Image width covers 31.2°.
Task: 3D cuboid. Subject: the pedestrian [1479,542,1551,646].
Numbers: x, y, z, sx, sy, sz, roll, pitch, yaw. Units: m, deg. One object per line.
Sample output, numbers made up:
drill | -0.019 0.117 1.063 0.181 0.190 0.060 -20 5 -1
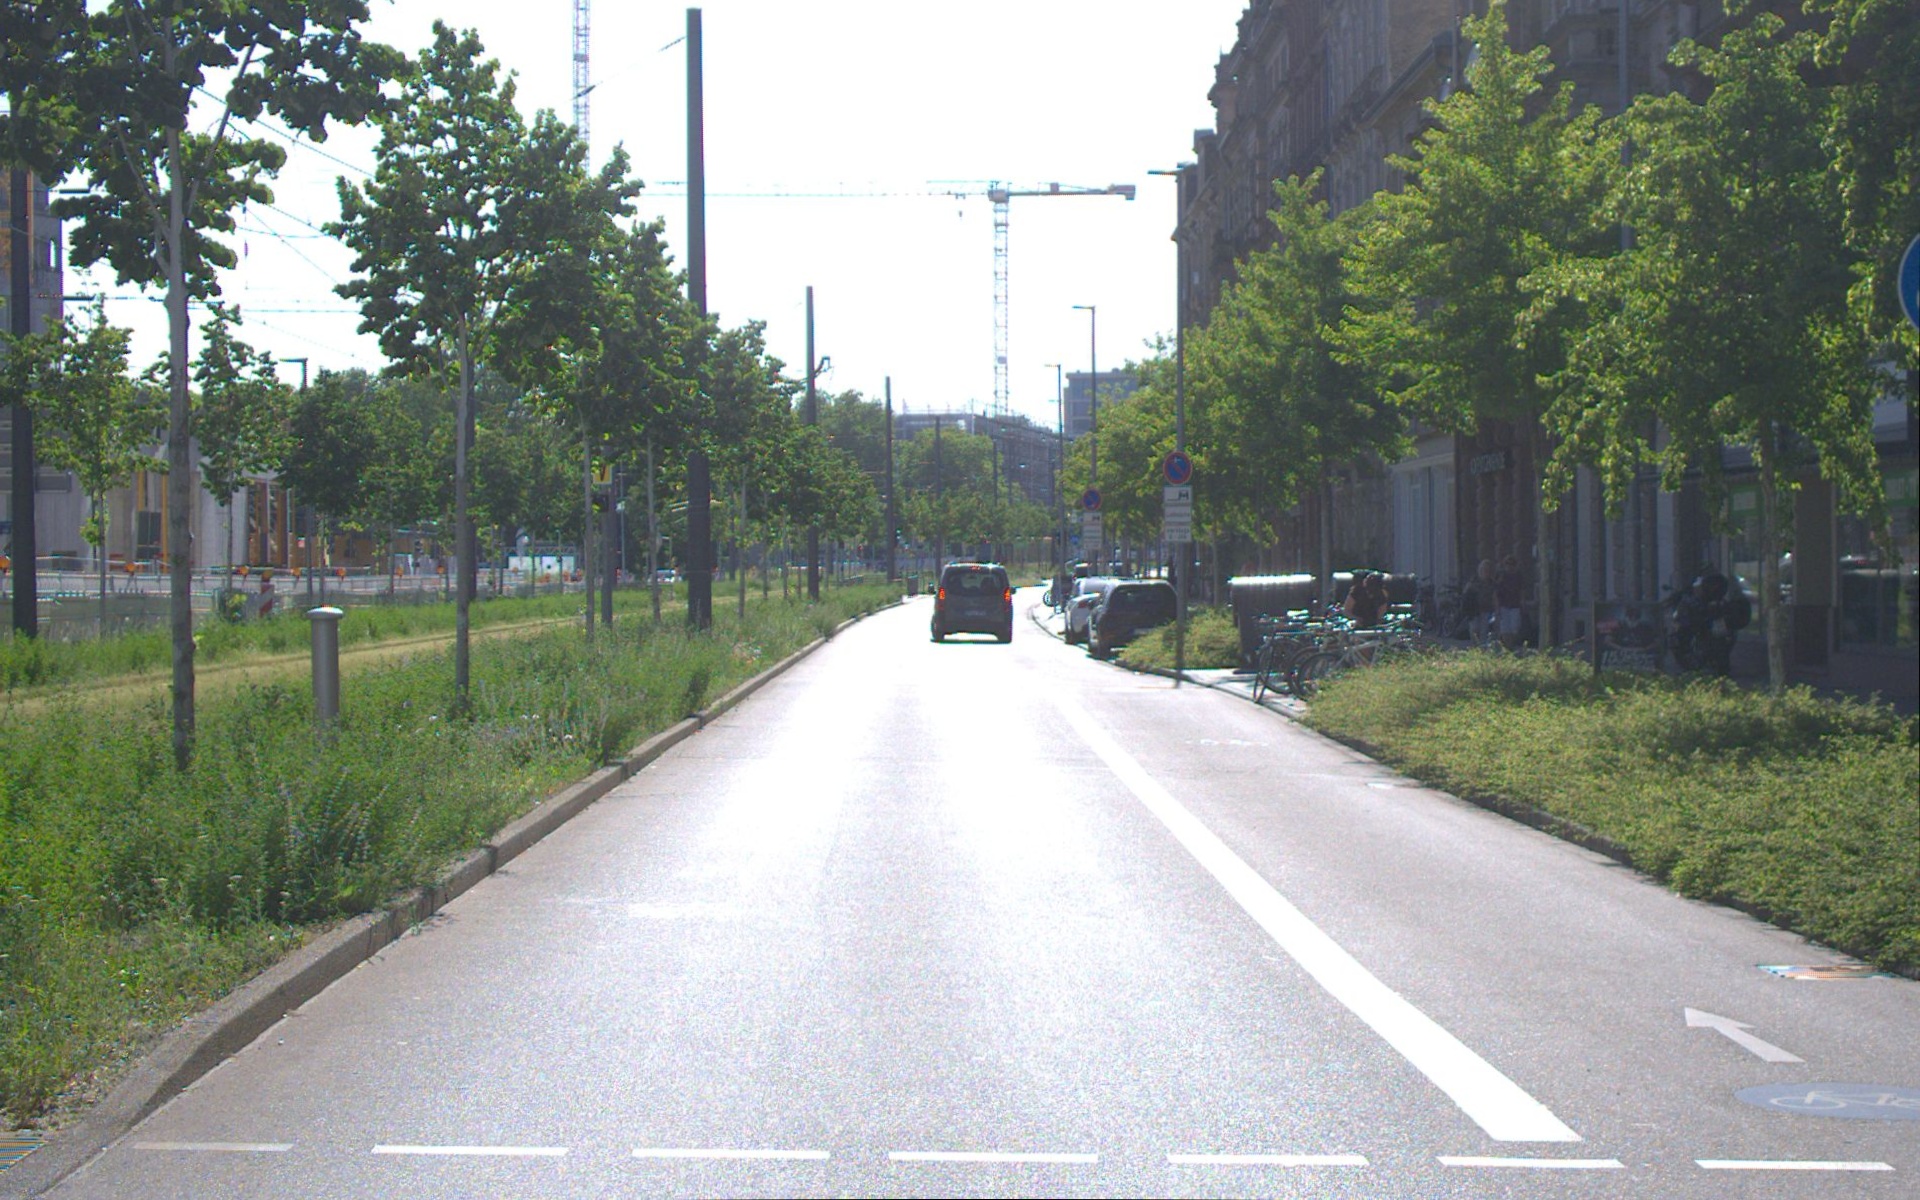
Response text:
pedestrian | 8.933 -0.106 55.353 0.971 1.633 0.992 -1 1 0

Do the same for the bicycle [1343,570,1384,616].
bicycle | 9.798 -0.169 83.611 0.721 1.086 2.198 -1 1 0

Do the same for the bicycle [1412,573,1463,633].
bicycle | 9.630 0.060 69.377 0.748 1.197 1.801 -1 0 0

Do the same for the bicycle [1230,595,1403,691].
bicycle | 4.519 0.541 43.584 2.043 1.103 0.611 -3 0 -6

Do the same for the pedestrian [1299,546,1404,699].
pedestrian | 4.651 0.265 40.774 0.848 1.730 0.901 -3 1 30

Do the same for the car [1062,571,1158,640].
car | 3.443 0.109 79.826 1.951 1.490 5.105 -2 0 0

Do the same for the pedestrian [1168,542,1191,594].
pedestrian | 8.664 -1.257 135.986 0.817 2.007 1.046 1 -2 0

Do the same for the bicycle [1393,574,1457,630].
bicycle | 9.789 0.030 72.442 0.875 1.101 2.182 -3 1 -3

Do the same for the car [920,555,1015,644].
car | 0.147 -0.008 80.405 1.993 2.007 4.000 1 0 -3

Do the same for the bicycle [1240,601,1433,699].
bicycle | 4.619 0.604 42.156 2.284 1.098 0.486 -2 0 -14

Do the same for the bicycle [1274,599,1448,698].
bicycle | 4.777 0.578 40.990 1.977 1.104 0.435 -2 0 -3

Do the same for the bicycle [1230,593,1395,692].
bicycle | 4.510 0.544 43.992 1.974 1.120 0.482 -4 2 -5

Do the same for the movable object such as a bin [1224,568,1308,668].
movable object such as a bin | 4.815 0.273 54.238 1.271 1.458 1.643 1 3 4

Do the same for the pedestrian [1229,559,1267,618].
pedestrian | 8.462 -0.344 101.071 0.996 1.725 0.866 1 0 0

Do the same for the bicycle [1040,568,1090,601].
bicycle | 4.188 -0.614 137.192 1.878 1.229 0.500 -3 0 -5

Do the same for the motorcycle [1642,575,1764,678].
motorcycle | 9.473 0.326 43.924 0.866 1.262 2.982 1 0 -1

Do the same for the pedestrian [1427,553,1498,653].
pedestrian | 8.091 0.036 55.427 0.950 1.561 1.080 -1 2 -1

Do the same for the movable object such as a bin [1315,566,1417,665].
movable object such as a bin | 6.411 0.241 54.410 1.373 1.490 1.749 -3 0 1

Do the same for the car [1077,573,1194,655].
car | 3.388 0.269 67.119 1.765 1.472 4.449 -3 0 -3

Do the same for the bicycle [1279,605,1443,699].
bicycle | 4.736 0.611 40.647 1.814 1.052 0.572 -2 0 -6

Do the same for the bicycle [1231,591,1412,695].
bicycle | 4.476 0.524 42.500 2.146 1.150 0.429 -4 1 -13

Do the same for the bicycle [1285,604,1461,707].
bicycle | 4.704 0.625 39.174 1.891 1.105 0.518 -2 0 -5
